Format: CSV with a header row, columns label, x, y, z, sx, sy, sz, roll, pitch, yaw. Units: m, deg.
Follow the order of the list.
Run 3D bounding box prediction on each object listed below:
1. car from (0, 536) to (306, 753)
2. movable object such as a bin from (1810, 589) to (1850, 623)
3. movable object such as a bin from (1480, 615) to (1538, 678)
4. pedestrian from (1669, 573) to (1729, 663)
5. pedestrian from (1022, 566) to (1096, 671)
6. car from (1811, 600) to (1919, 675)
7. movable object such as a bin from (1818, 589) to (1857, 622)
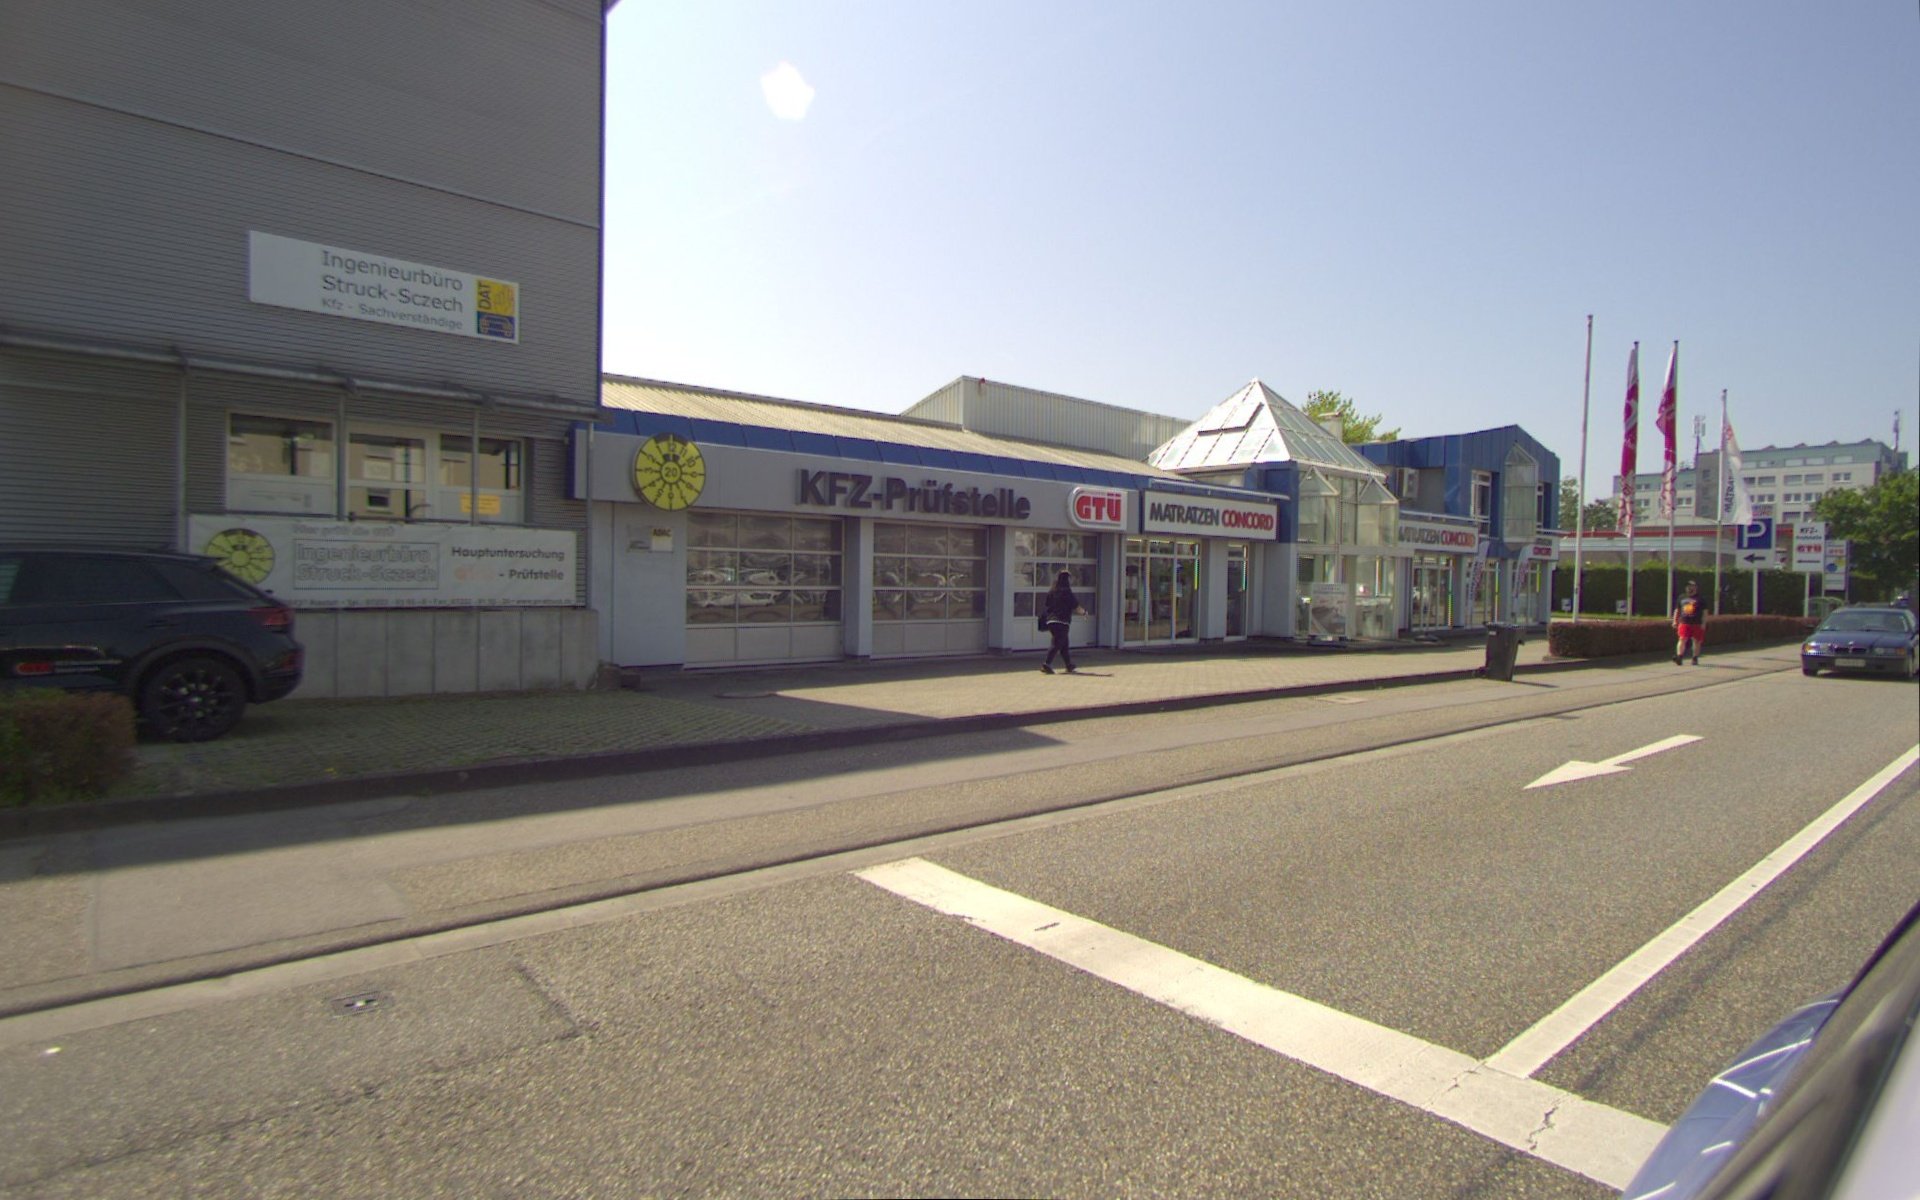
label,x,y,z,sx,sy,sz,roll,pitch,yaw
car,-7.609,0.314,7.811,4.123,1.550,1.847,0,0,-41
movable object such as a bin,39.534,0.257,45.986,1.463,1.488,1.133,0,2,-40
movable object such as a bin,8.798,0.731,16.219,0.641,0.930,0.552,0,5,-40
pedestrian,15.973,0.371,21.888,0.919,1.869,0.787,0,1,-38
pedestrian,1.605,0.279,16.431,0.837,1.647,0.812,0,1,-37
car,18.631,0.696,20.471,3.691,1.356,1.631,0,0,-41
movable object such as a bin,40.746,0.251,46.996,1.463,1.488,1.133,0,2,-40
